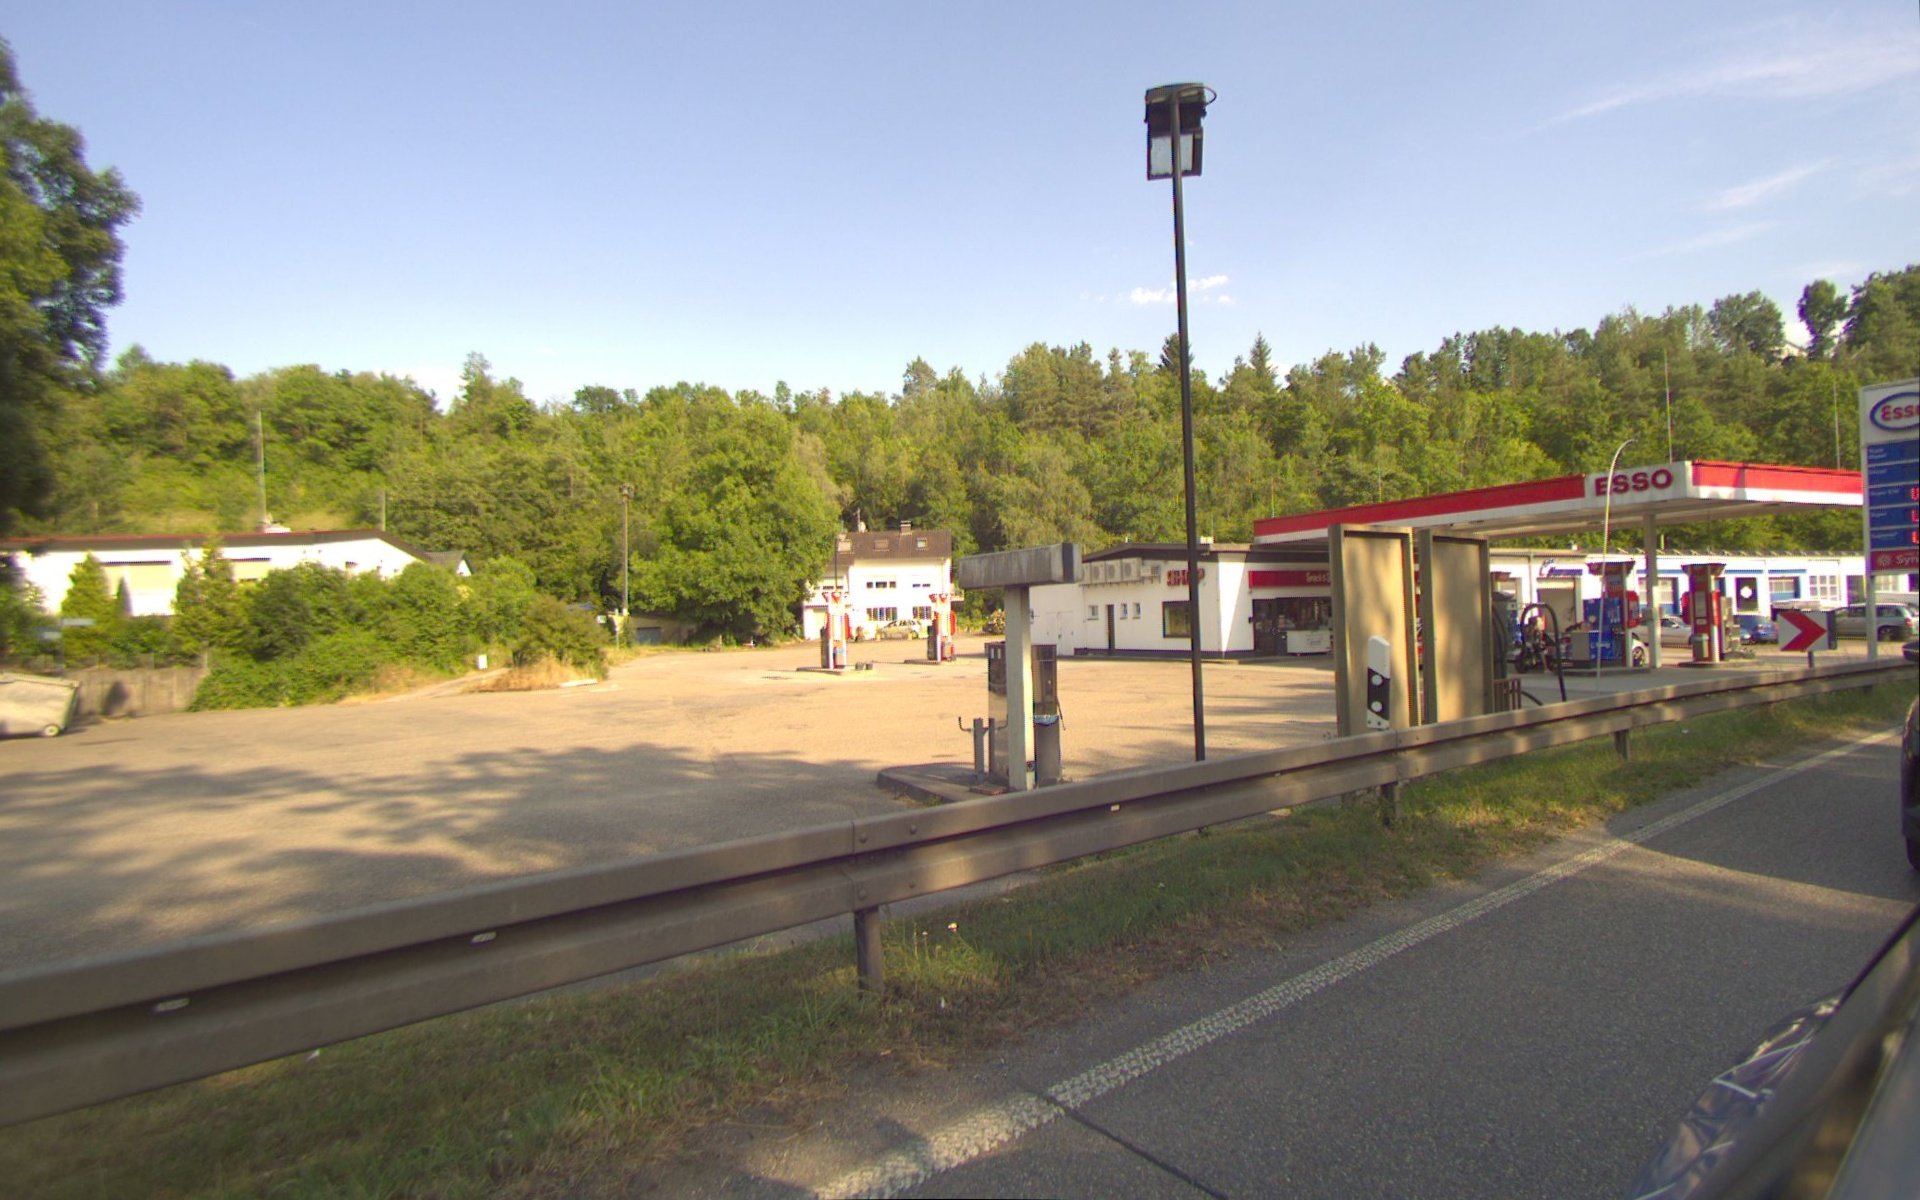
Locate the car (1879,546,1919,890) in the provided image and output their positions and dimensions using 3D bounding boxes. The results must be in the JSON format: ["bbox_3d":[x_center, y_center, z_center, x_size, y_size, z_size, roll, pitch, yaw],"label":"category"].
[{"bbox_3d":[6.843,0.559,5.582,4.359,1.661,1.860,0,0,-37],"label":"car"}]

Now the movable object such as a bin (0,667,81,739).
[{"bbox_3d":[-20.413,2.209,21.578,2.512,1.439,1.267,0,-4,-41],"label":"movable object such as a bin"}]

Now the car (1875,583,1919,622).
[{"bbox_3d":[56.941,0.143,58.553,2.248,2.302,5.500,-1,1,-26],"label":"car"}]

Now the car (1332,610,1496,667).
[{"bbox_3d":[14.588,1.186,32.474,5.075,1.649,2.102,-1,-1,-28],"label":"car"}]

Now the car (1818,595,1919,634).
[{"bbox_3d":[46.236,0.689,50.954,1.854,1.750,4.267,-1,2,-29],"label":"car"}]

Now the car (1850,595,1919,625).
[{"bbox_3d":[52.766,0.524,56.462,1.856,1.631,4.261,-1,1,-26],"label":"car"}]

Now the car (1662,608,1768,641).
[{"bbox_3d":[34.907,1.111,46.883,1.656,1.424,3.566,-1,0,-26],"label":"car"}]

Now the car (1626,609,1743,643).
[{"bbox_3d":[32.668,1.133,45.736,1.741,1.371,3.973,-1,1,-30],"label":"car"}]

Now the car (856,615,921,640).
[{"bbox_3d":[-5.704,2.195,81.471,5.068,1.860,2.701,-1,-1,0],"label":"car"}]

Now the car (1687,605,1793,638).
[{"bbox_3d":[36.851,1.009,47.873,1.698,1.464,3.560,-1,-1,-26],"label":"car"}]

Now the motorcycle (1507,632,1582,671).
[{"bbox_3d":[17.139,1.489,29.653,2.293,1.025,0.765,-1,-1,-27],"label":"motorcycle"}]

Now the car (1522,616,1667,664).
[{"bbox_3d":[19.921,1.212,31.759,4.299,1.336,1.851,-1,-1,-26],"label":"car"}]

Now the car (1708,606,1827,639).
[{"bbox_3d":[38.767,1.038,48.702,1.856,1.365,4.087,-1,2,-26],"label":"car"}]

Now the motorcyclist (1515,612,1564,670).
[{"bbox_3d":[16.921,1.180,29.559,0.909,1.625,0.862,0,-1,-27],"label":"motorcyclist"}]
